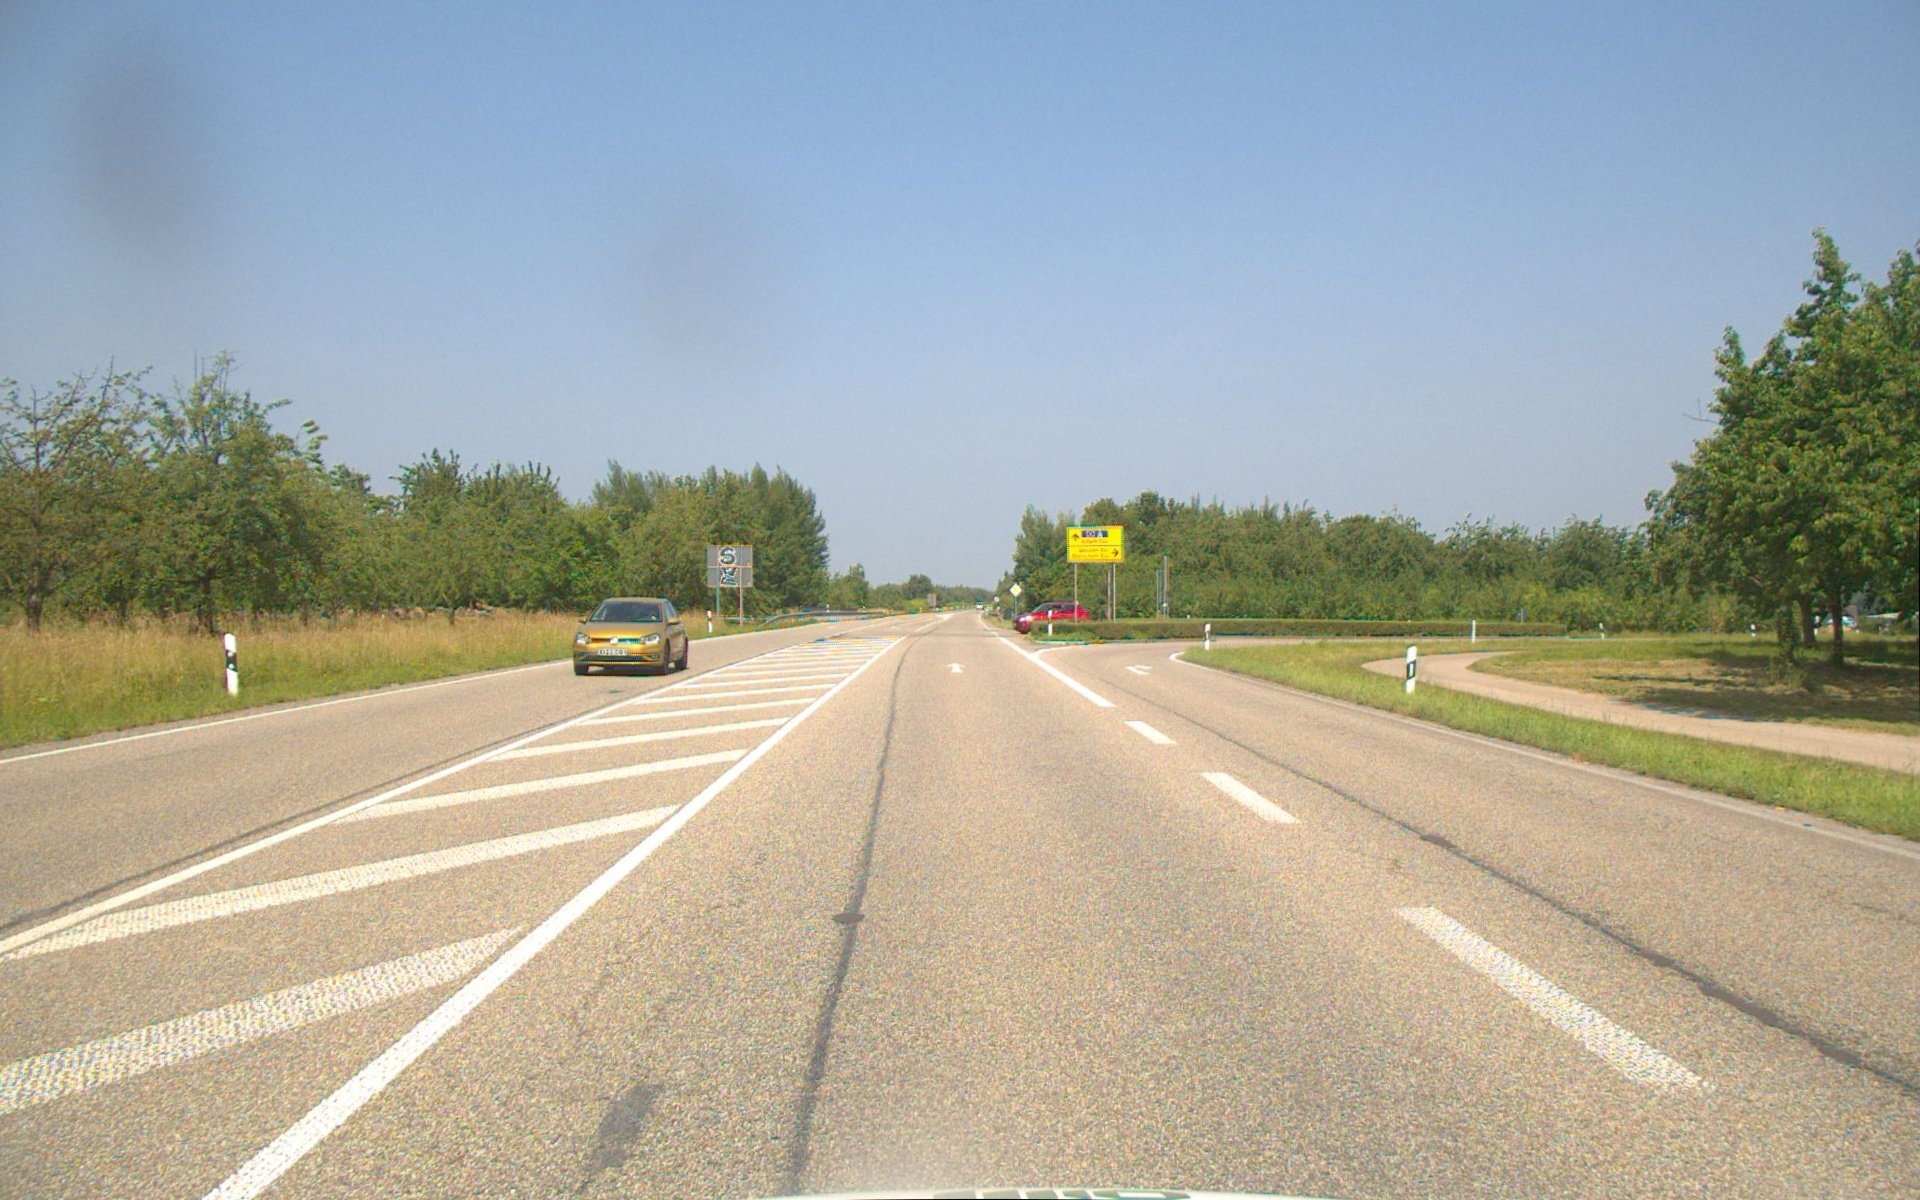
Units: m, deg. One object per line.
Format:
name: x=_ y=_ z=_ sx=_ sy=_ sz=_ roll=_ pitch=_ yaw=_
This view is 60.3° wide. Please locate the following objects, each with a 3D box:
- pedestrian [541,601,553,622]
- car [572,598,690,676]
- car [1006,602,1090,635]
pedestrian: x=-25.498 y=0.695 z=102.162 sx=0.561 sy=1.320 sz=0.556 roll=0 pitch=-1 yaw=2
car: x=-6.392 y=0.689 z=32.528 sx=1.663 sy=1.441 sz=3.824 roll=0 pitch=0 yaw=-2
car: x=4.257 y=0.882 z=80.038 sx=3.681 sy=1.519 sz=1.663 roll=1 pitch=0 yaw=-18
